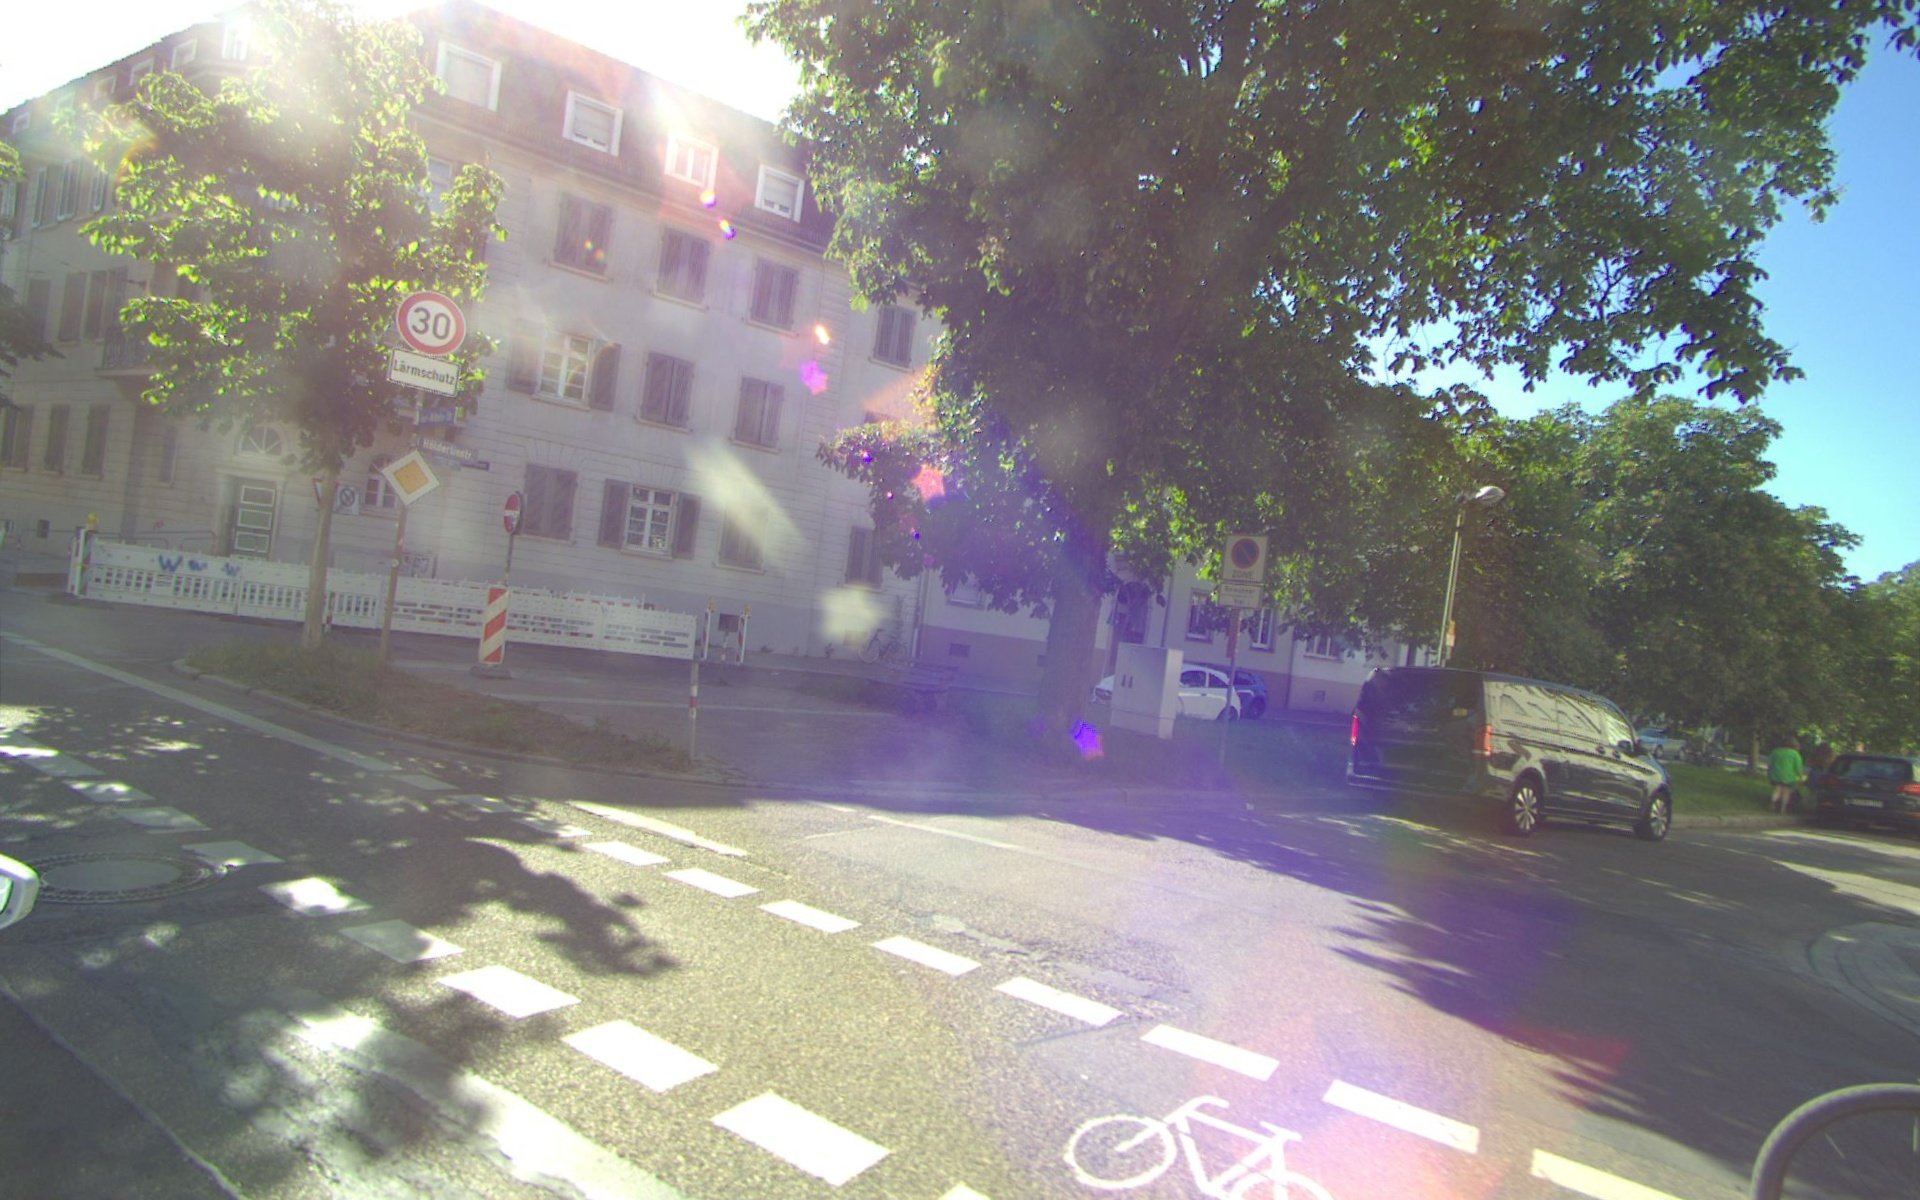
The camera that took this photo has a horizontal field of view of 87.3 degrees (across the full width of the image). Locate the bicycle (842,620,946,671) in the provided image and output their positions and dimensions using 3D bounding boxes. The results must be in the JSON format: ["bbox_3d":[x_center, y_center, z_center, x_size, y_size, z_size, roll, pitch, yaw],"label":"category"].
[{"bbox_3d":[-1.929,1.374,29.924,3.082,1.127,0.521,9,2,-32],"label":"bicycle"}]

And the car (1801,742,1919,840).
[{"bbox_3d":[19.768,4.033,21.127,4.576,1.627,1.920,9,-3,-33],"label":"car"}]

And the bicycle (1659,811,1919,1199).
[{"bbox_3d":[2.856,1.321,2.167,2.061,1.256,0.763,7,-2,31],"label":"bicycle"}]

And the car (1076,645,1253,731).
[{"bbox_3d":[4.976,2.143,24.383,3.934,1.505,1.770,8,1,-33],"label":"car"}]

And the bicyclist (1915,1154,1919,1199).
[{"bbox_3d":[2.933,0.989,2.155,1.029,1.758,0.763,7,-1,31],"label":"bicyclist"}]

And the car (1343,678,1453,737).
[{"bbox_3d":[16.455,4.036,37.739,3.833,1.673,1.770,8,1,-33],"label":"car"}]

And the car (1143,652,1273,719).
[{"bbox_3d":[7.957,2.754,32.195,3.836,1.565,1.826,8,1,-35],"label":"car"}]

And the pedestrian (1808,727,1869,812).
[{"bbox_3d":[20.864,4.023,23.895,0.569,1.863,0.836,8,-1,-35],"label":"pedestrian"}]

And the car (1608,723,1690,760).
[{"bbox_3d":[33.024,6.799,48.227,3.833,1.236,1.792,9,1,-33],"label":"car"}]

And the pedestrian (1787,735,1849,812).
[{"bbox_3d":[19.458,3.927,22.823,0.569,1.586,0.836,8,-1,-35],"label":"pedestrian"}]

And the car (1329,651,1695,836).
[{"bbox_3d":[7.340,1.925,13.190,5.018,1.911,1.984,9,-3,-33],"label":"car"}]

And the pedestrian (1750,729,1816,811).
[{"bbox_3d":[17.486,3.608,21.383,0.569,1.586,0.836,8,-1,-35],"label":"pedestrian"}]
